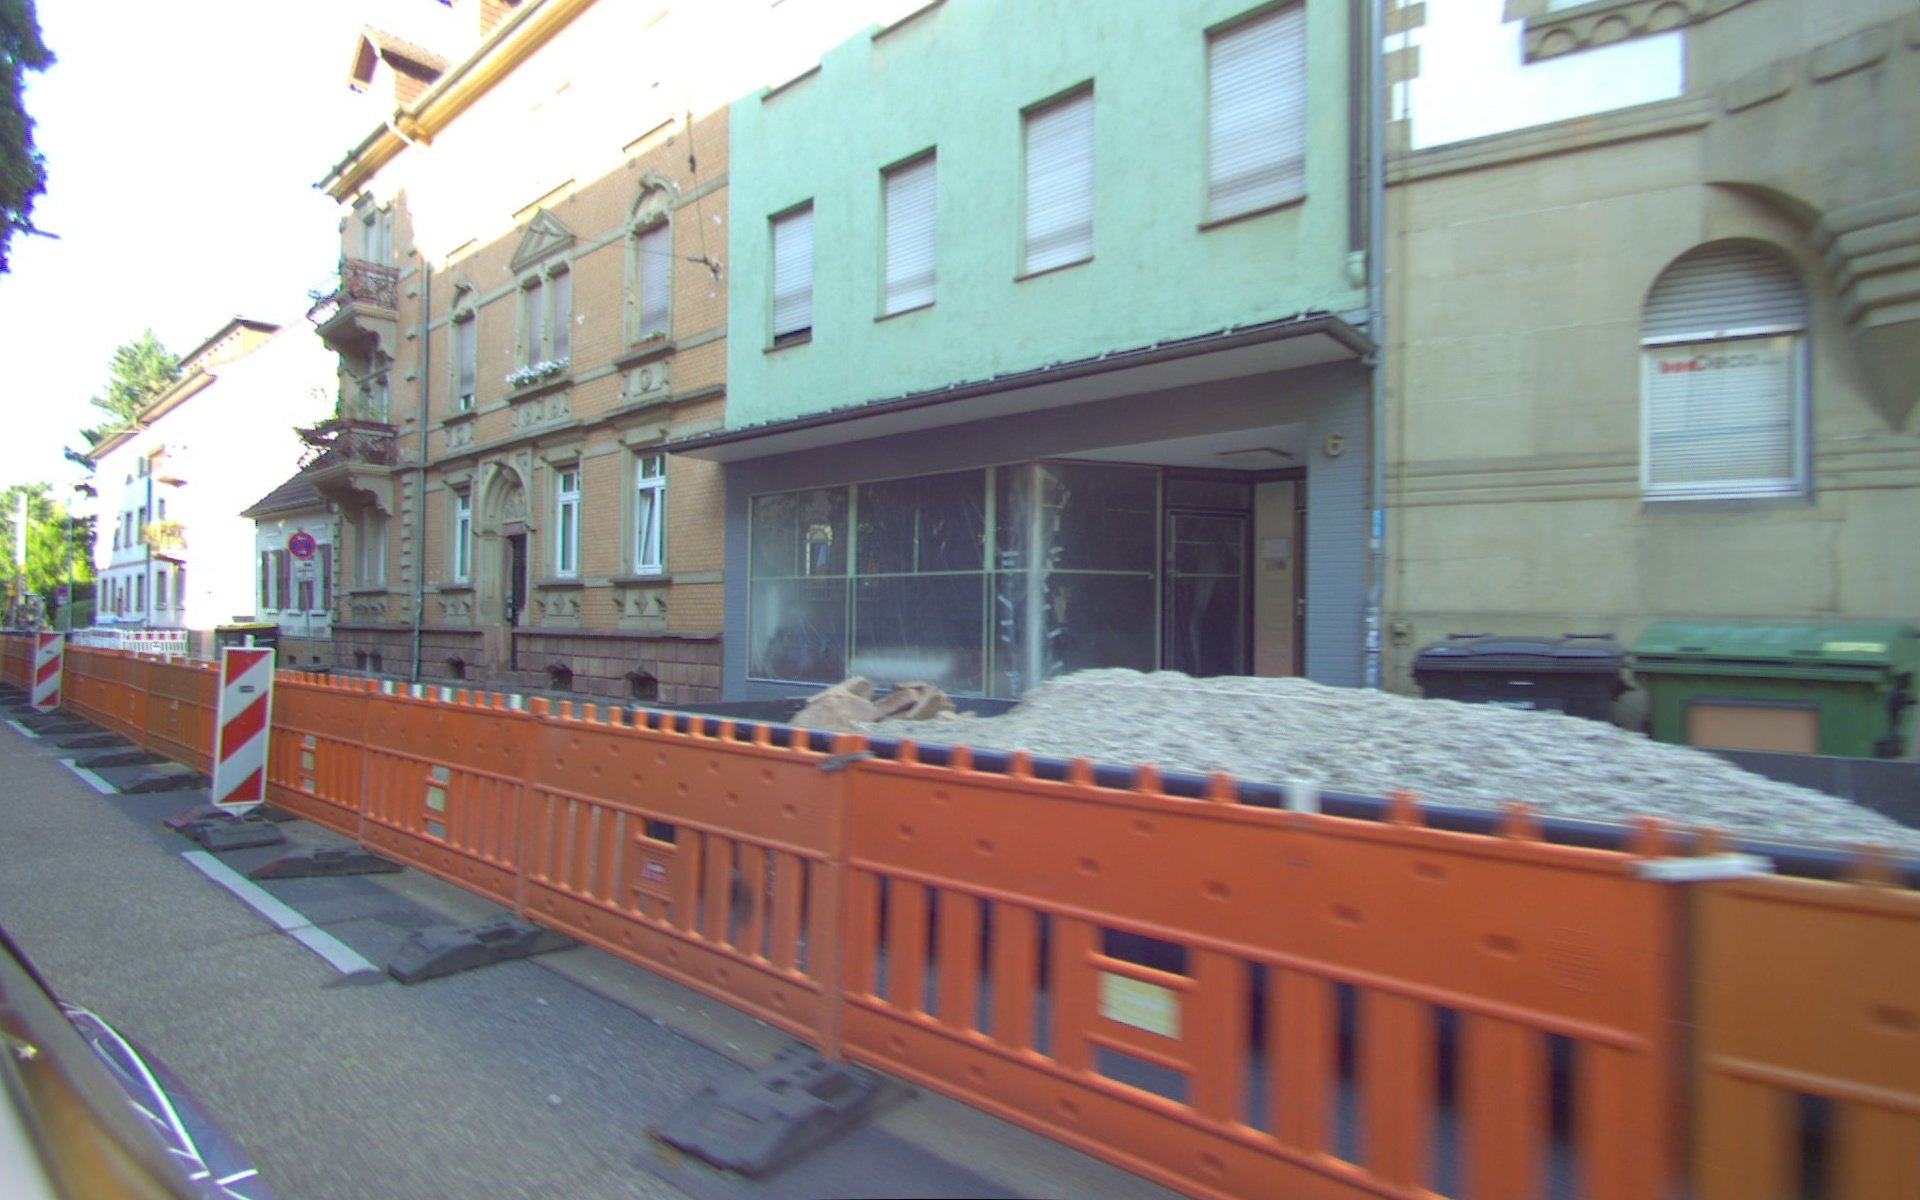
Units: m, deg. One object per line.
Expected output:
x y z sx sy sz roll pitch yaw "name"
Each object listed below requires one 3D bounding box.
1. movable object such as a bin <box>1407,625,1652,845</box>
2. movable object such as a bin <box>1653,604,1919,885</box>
3.840 0.821 6.828 1.332 1.273 1.073 -1 -1 34 "movable object such as a bin"
5.057 0.755 5.924 1.069 1.442 1.409 0 -1 -41 "movable object such as a bin"
